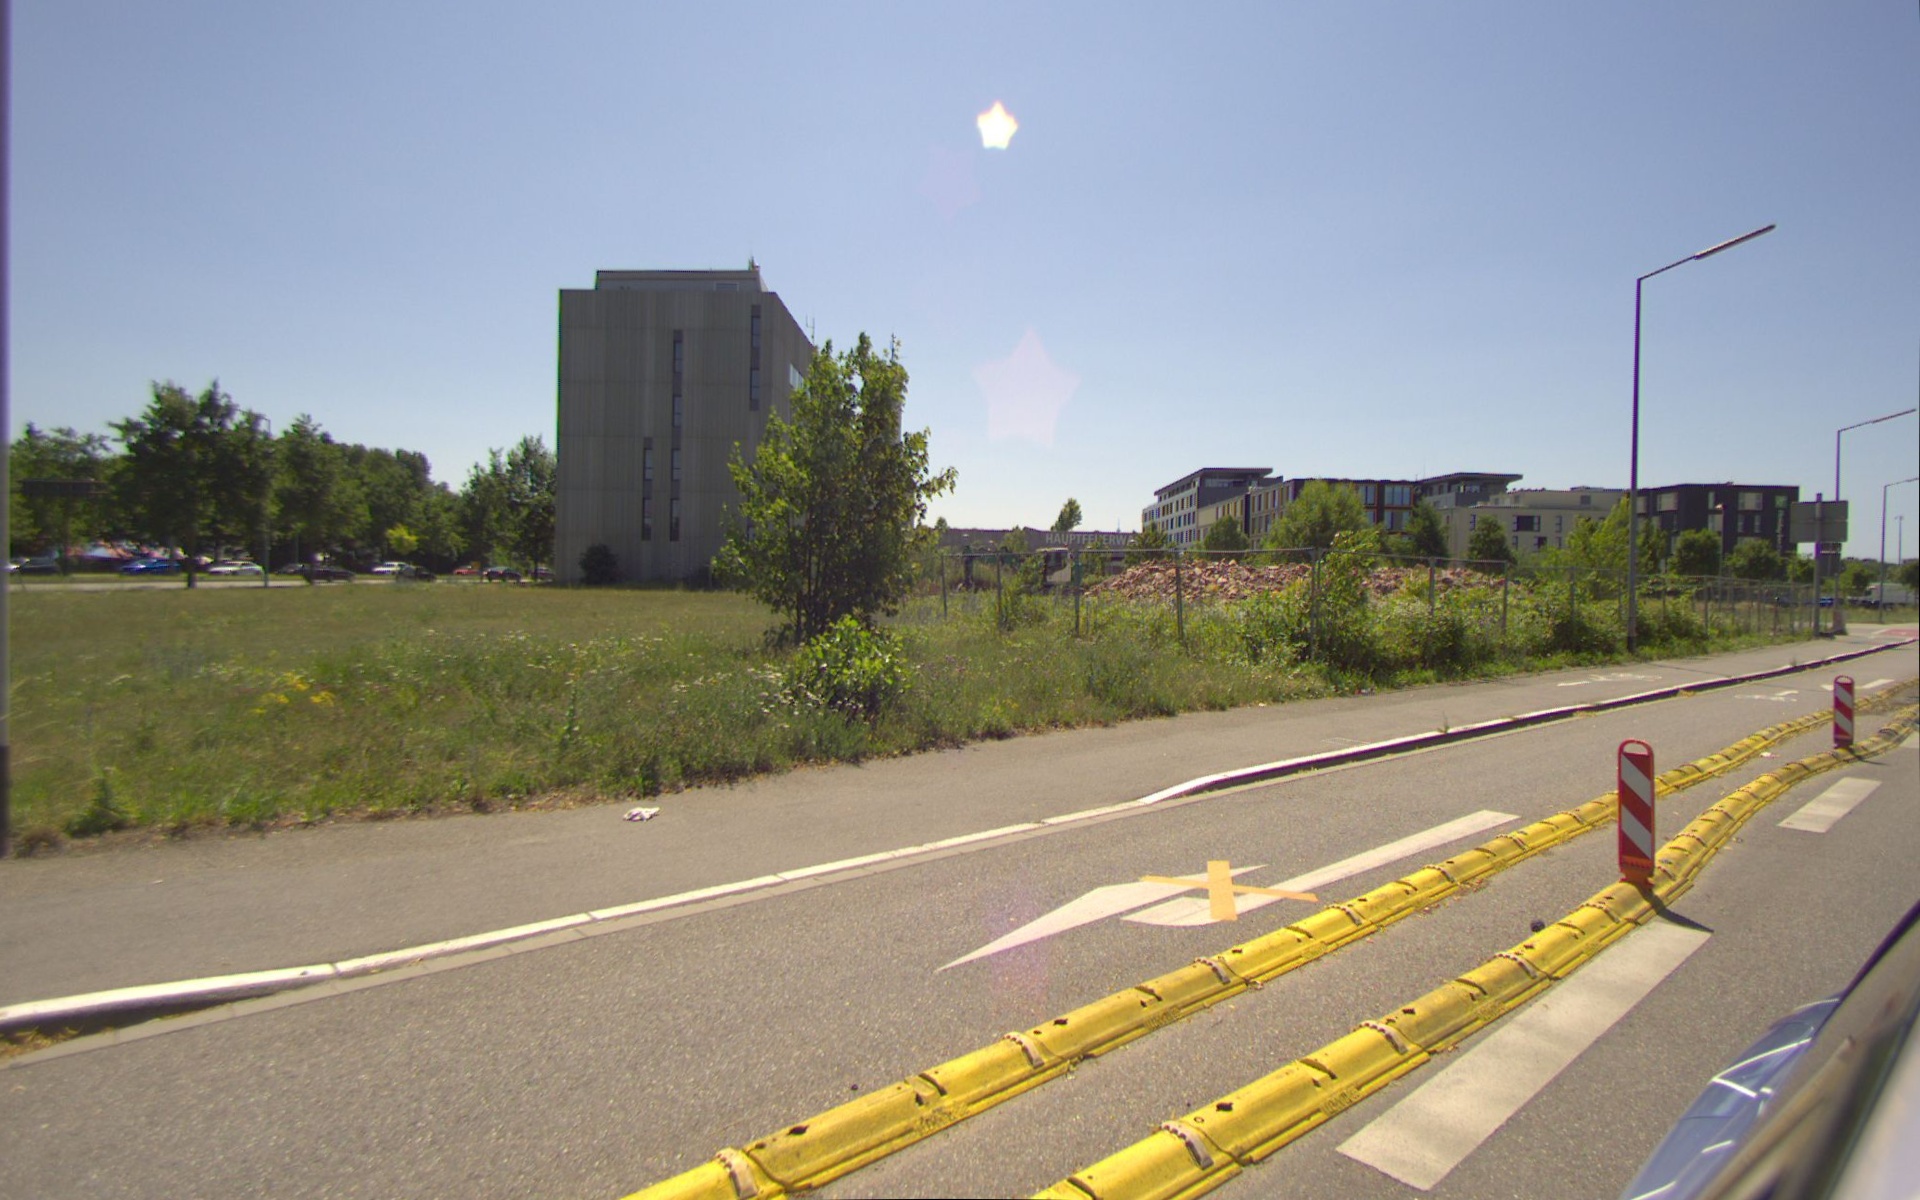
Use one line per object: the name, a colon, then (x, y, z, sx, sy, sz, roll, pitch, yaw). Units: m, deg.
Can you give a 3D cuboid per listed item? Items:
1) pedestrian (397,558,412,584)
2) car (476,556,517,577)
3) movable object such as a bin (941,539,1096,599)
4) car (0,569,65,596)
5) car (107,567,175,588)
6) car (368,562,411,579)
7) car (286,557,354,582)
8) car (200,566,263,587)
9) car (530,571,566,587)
pedestrian: (-34.046, -1.761, 62.011, 0.652, 1.611, 0.557, 0, 0, -15)
car: (-45.129, -3.262, 98.545, 1.961, 1.961, 4.645, 0, 0, -1)
movable object such as a bin: (3.118, -1.588, 53.306, 7.537, 2.952, 3.242, -1, 0, -26)
car: (-58.788, -1.084, 63.200, 1.814, 1.612, 4.443, 0, 0, 1)
car: (-61.812, -1.681, 76.447, 1.734, 1.557, 3.997, 0, 0, 3)
car: (-57.813, -2.964, 102.618, 1.814, 1.612, 4.444, 0, 0, 1)
car: (-47.622, -2.235, 75.477, 1.960, 1.757, 5.334, 0, 0, -4)
car: (-58.568, -1.892, 81.458, 1.814, 1.612, 4.443, 0, 0, 1)
car: (-46.927, -2.366, 115.370, 1.964, 1.757, 4.639, 0, 0, 4)
